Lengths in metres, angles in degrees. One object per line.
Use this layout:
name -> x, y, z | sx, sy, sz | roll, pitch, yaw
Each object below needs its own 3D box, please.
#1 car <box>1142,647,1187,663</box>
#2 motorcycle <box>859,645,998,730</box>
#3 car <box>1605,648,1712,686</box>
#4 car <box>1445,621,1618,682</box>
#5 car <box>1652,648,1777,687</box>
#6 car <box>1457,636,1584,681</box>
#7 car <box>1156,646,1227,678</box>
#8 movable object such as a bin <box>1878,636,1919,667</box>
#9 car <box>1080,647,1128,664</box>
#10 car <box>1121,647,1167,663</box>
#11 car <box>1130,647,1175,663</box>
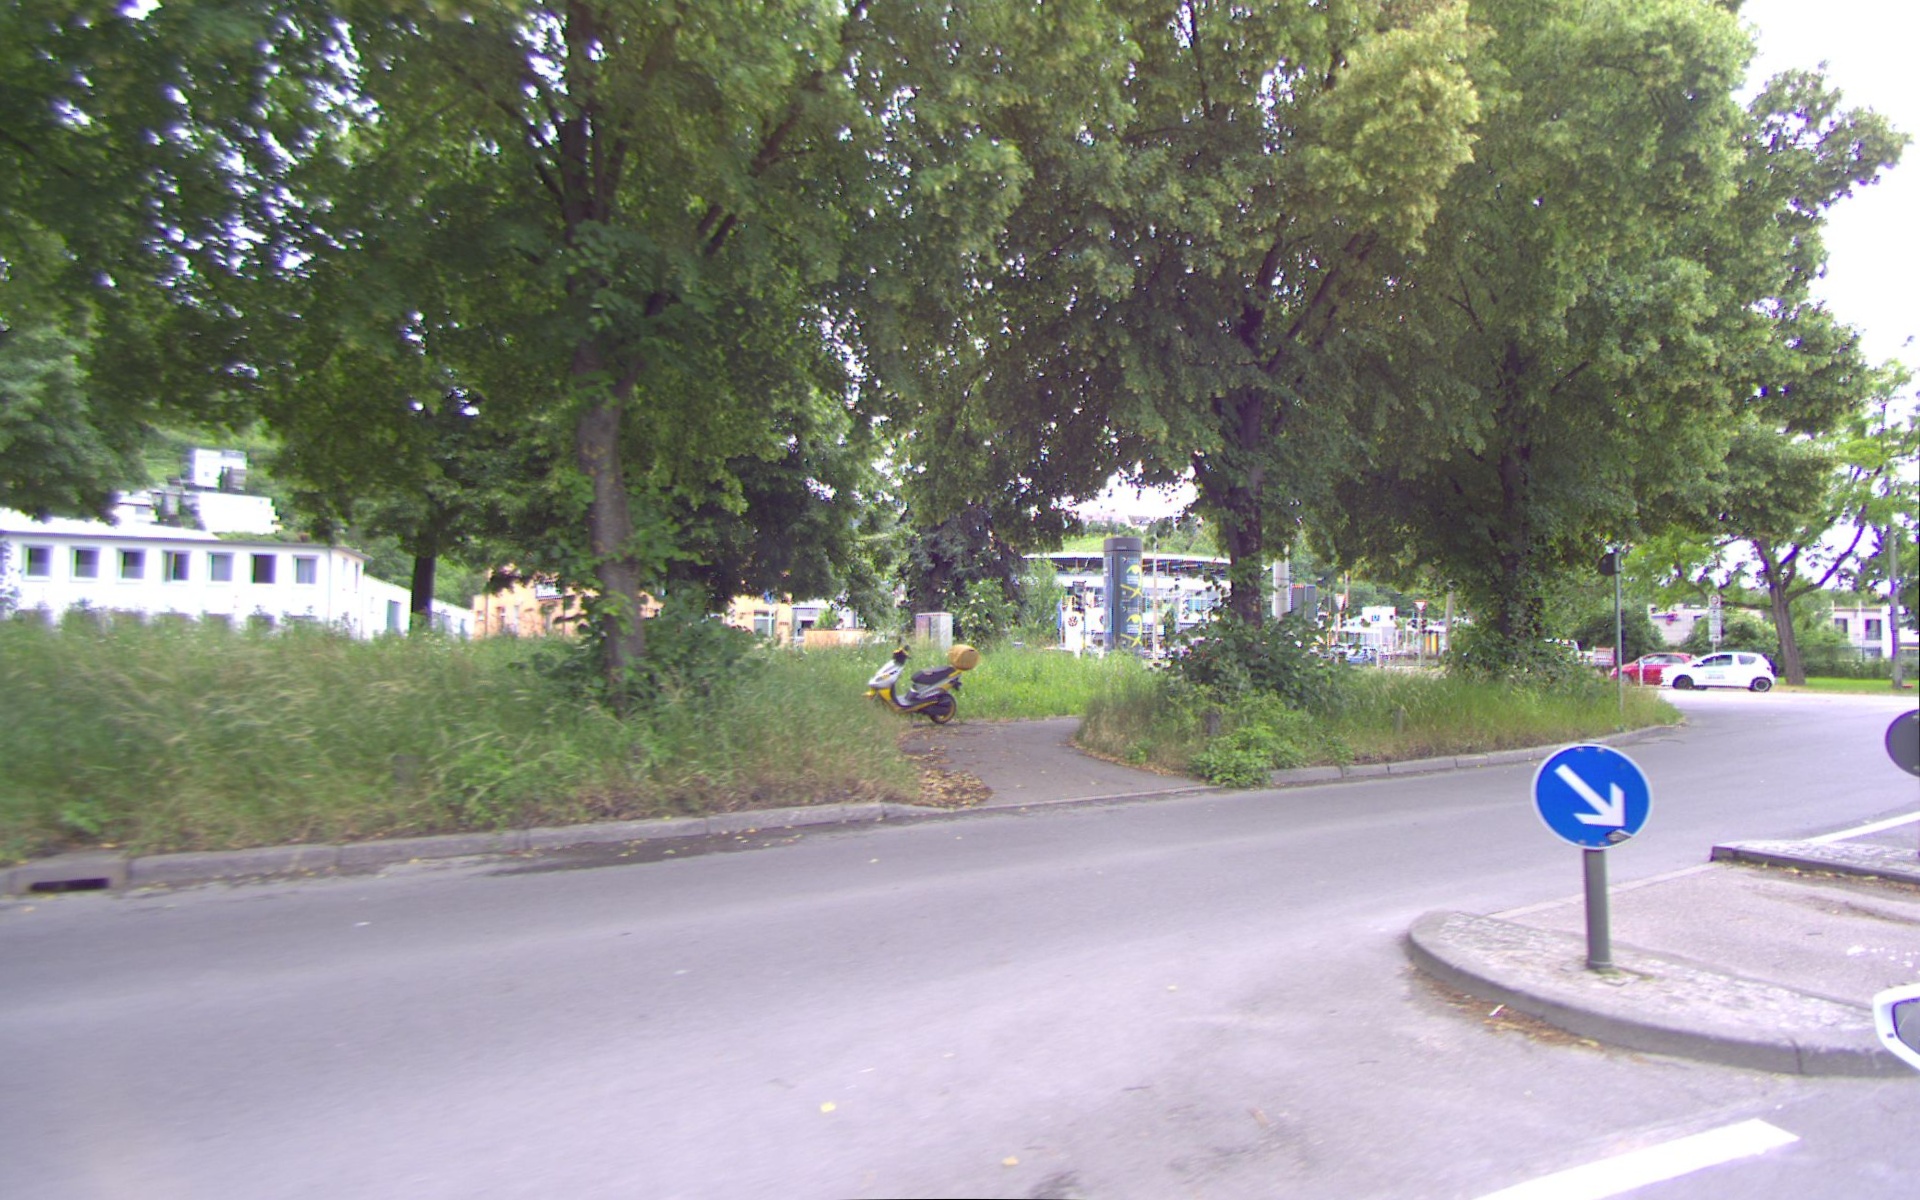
car -> 22.649, 6.076, 111.388 | 4.428, 1.714, 1.994 | -2, -3, 34
motorcycle -> -0.445, 1.263, 14.782 | 2.010, 1.183, 0.563 | 1, -3, -28
car -> 29.214, 2.761, 42.069 | 1.627, 1.497, 3.366 | 2, -3, -39
car -> 24.491, 2.205, 43.303 | 2.373, 2.418, 6.027 | 2, -3, -37
car -> 28.438, 2.523, 37.996 | 3.553, 1.428, 1.738 | -2, -3, 31
car -> 26.143, 2.719, 47.072 | 2.021, 1.967, 4.964 | 1, -3, -26
car -> 9.932, 2.639, 43.070 | 2.822, 1.367, 1.564 | -1, -3, 19
movable object such as a bin -> 63.974, 3.442, 67.731 | 2.356, 2.040, 1.997 | 1, -3, -10
car -> 14.741, 5.639, 102.760 | 4.428, 1.714, 1.994 | -2, -3, 34
car -> 19.679, 5.889, 107.701 | 4.428, 1.714, 1.994 | -2, -3, 34
car -> 20.988, 5.963, 109.485 | 4.428, 1.714, 1.994 | -2, -3, 34
